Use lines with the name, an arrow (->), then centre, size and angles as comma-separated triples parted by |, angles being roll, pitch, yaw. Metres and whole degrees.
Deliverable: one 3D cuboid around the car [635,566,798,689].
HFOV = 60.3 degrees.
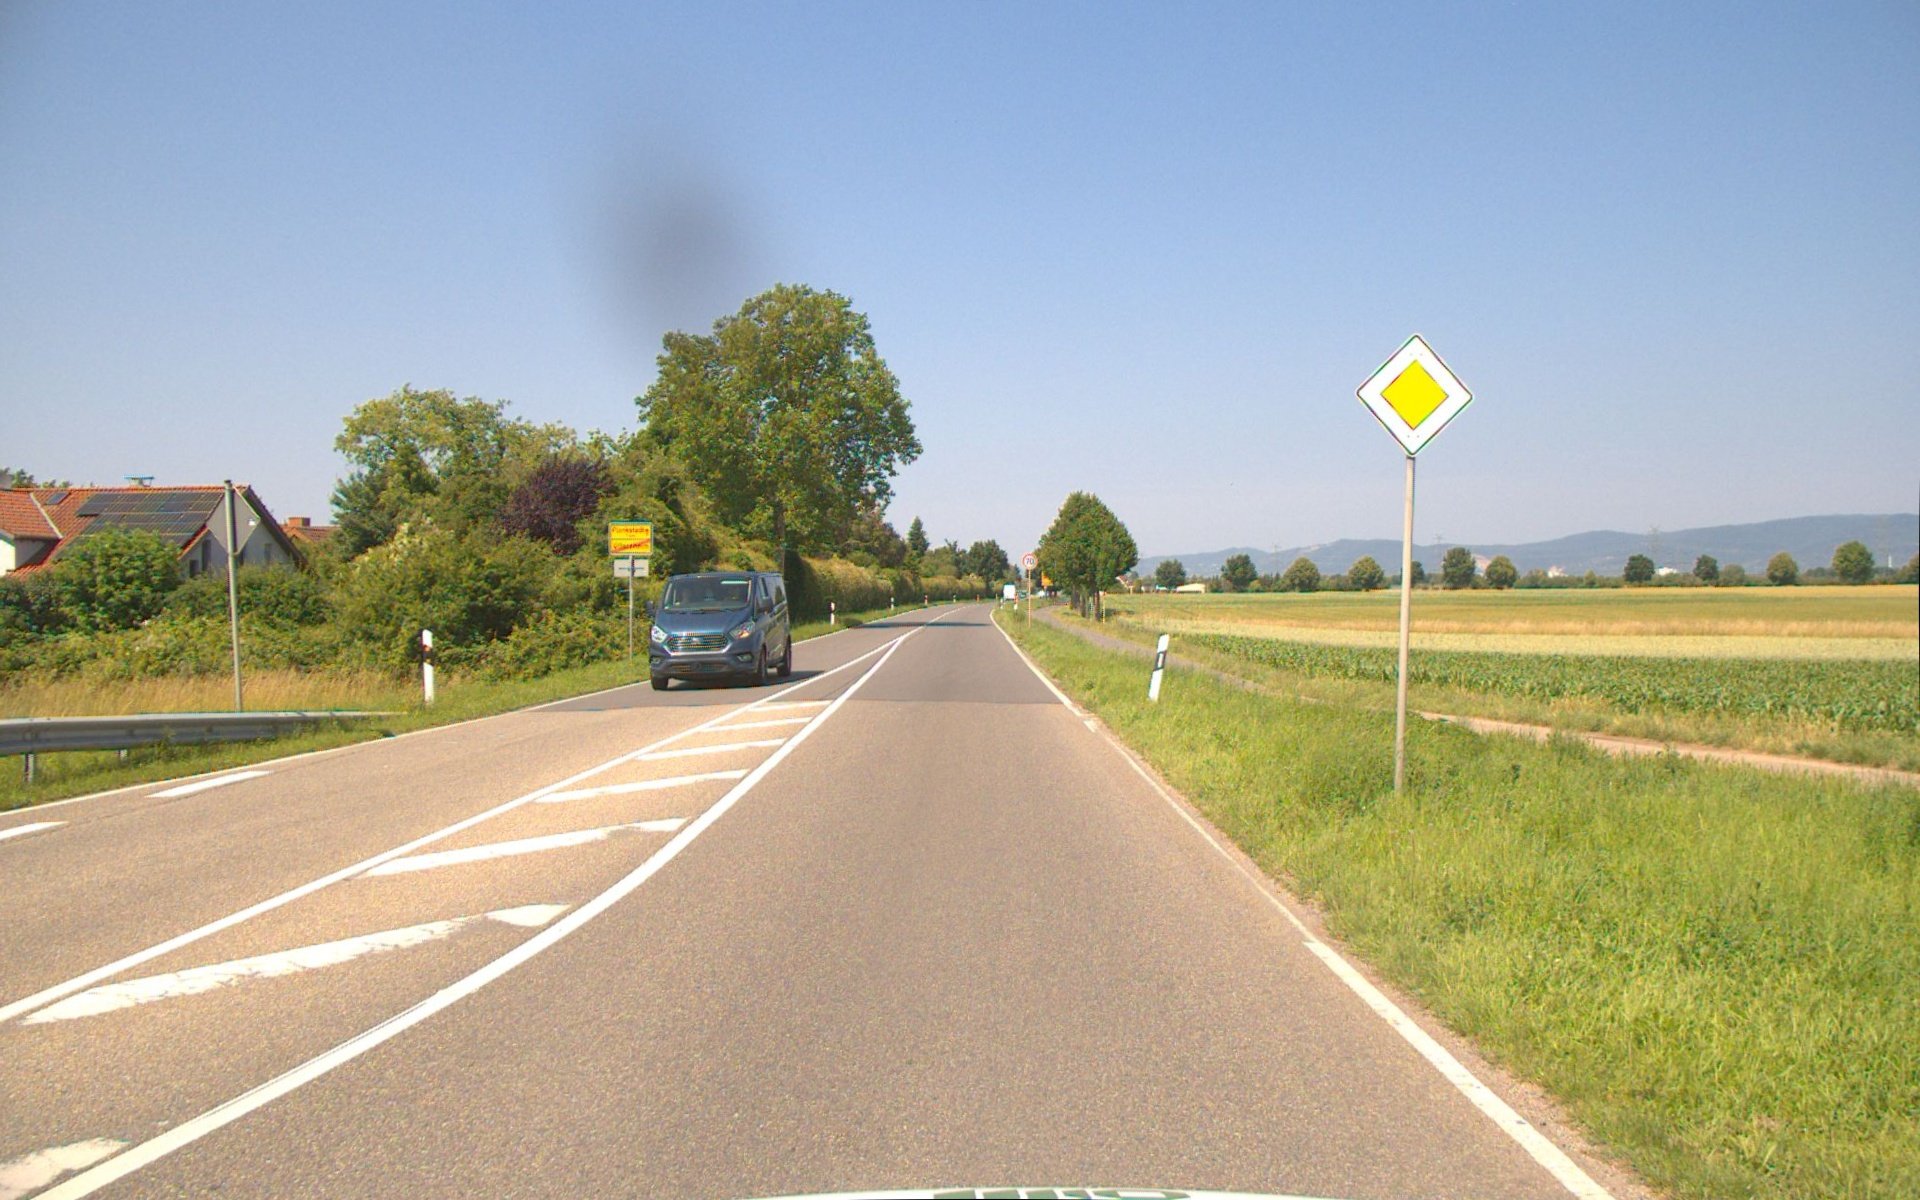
car -> -4.290, 0.431, 30.005 | 2.100, 1.985, 5.247 | -1, 1, 0
